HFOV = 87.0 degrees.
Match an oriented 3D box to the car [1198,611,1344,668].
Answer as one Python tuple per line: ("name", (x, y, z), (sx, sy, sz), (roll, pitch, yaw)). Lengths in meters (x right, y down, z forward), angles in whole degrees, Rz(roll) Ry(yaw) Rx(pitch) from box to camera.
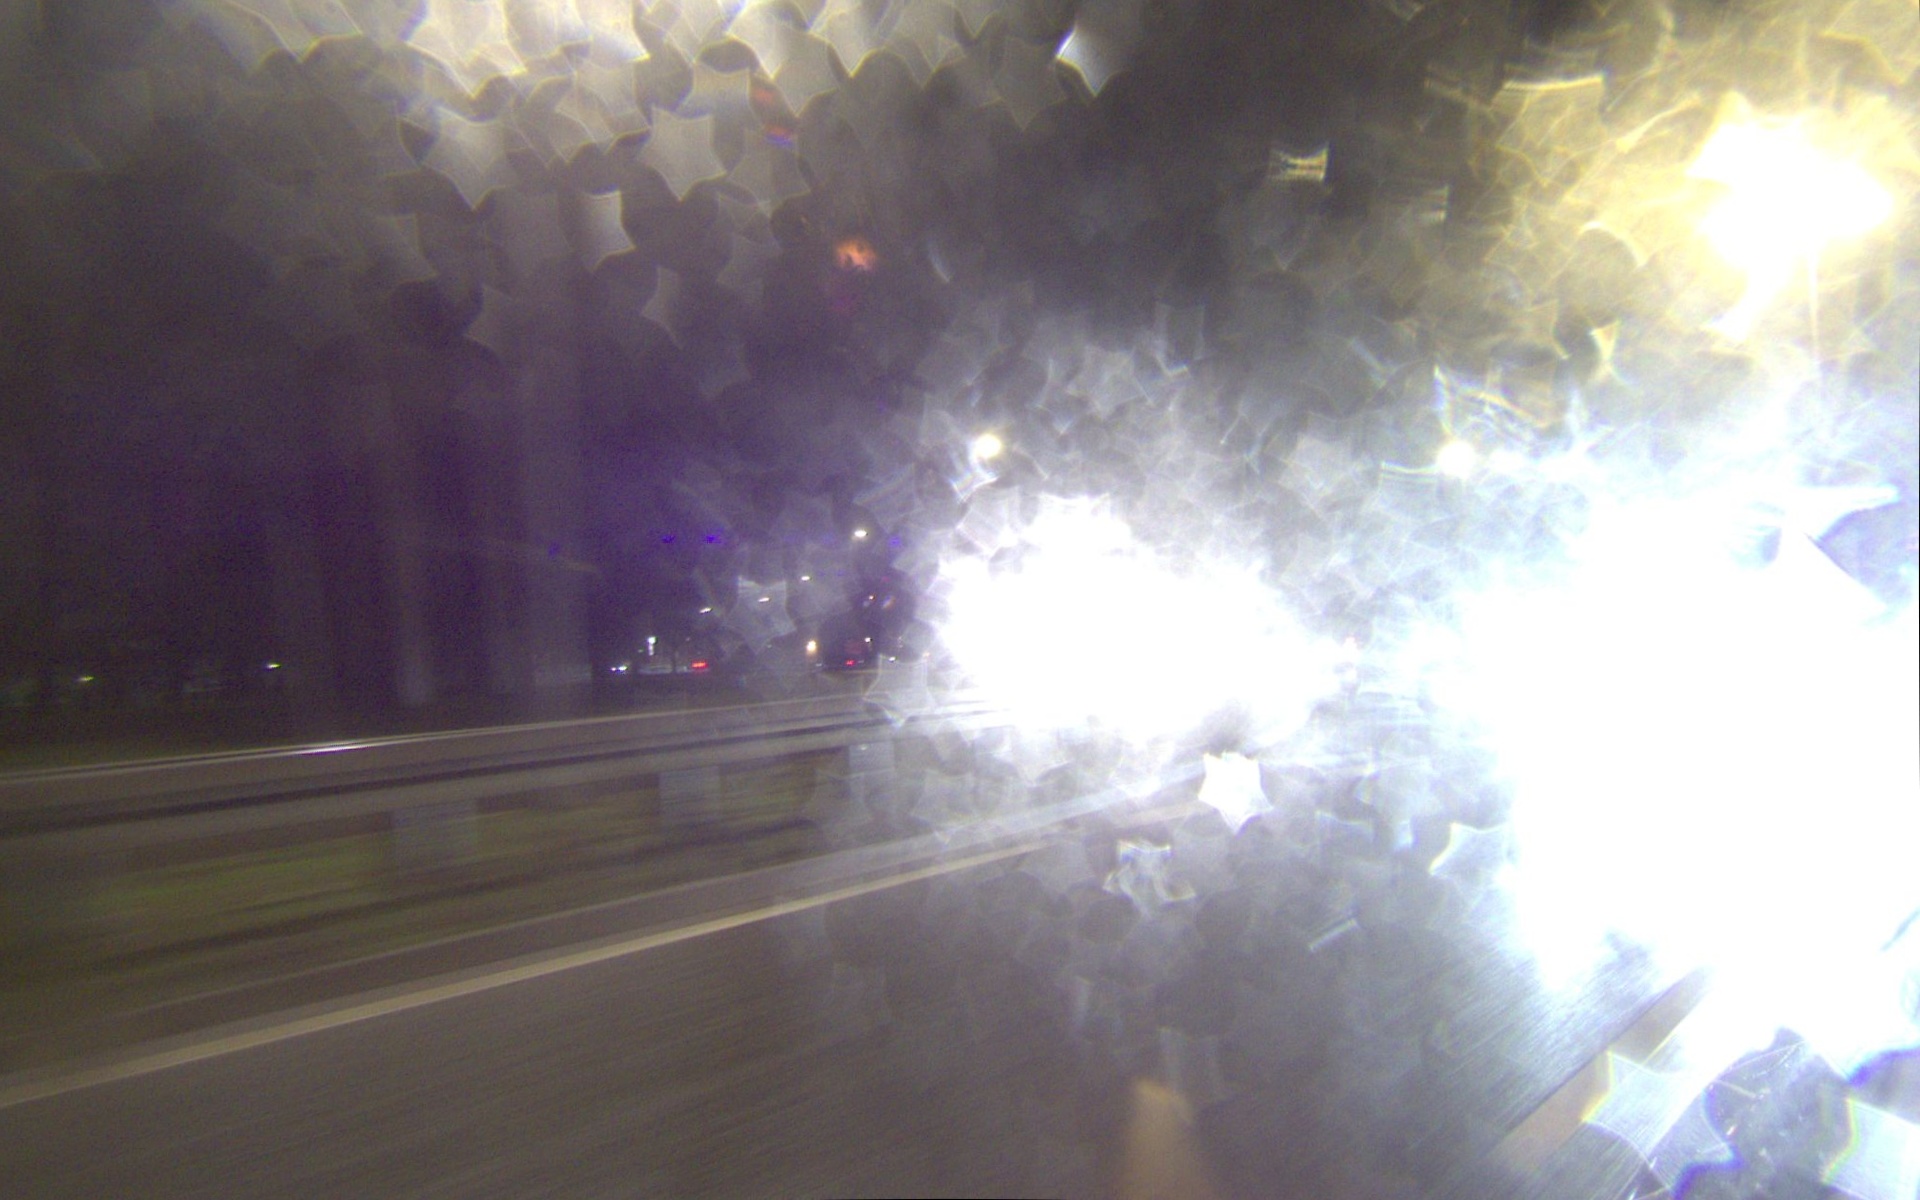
("car", (8.930, 1.077, 29.499), (1.958, 1.426, 4.555), (0, 0, -15))

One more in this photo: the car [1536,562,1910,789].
("car", (7.494, 0.556, 9.810), (4.162, 1.736, 1.927), (0, 1, -39))

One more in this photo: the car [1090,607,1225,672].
("car", (5.607, 1.071, 29.461), (1.958, 1.660, 4.792), (0, 0, -15))

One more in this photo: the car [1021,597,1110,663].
("car", (3.675, 1.126, 36.139), (1.728, 2.039, 4.005), (-5, -2, -14))

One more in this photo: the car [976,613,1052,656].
("car", (2.218, 1.430, 42.728), (1.958, 1.661, 4.354), (-1, -1, -14))

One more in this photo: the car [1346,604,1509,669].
("car", (13.176, 0.957, 28.827), (1.958, 1.660, 4.127), (0, 0, -17))
